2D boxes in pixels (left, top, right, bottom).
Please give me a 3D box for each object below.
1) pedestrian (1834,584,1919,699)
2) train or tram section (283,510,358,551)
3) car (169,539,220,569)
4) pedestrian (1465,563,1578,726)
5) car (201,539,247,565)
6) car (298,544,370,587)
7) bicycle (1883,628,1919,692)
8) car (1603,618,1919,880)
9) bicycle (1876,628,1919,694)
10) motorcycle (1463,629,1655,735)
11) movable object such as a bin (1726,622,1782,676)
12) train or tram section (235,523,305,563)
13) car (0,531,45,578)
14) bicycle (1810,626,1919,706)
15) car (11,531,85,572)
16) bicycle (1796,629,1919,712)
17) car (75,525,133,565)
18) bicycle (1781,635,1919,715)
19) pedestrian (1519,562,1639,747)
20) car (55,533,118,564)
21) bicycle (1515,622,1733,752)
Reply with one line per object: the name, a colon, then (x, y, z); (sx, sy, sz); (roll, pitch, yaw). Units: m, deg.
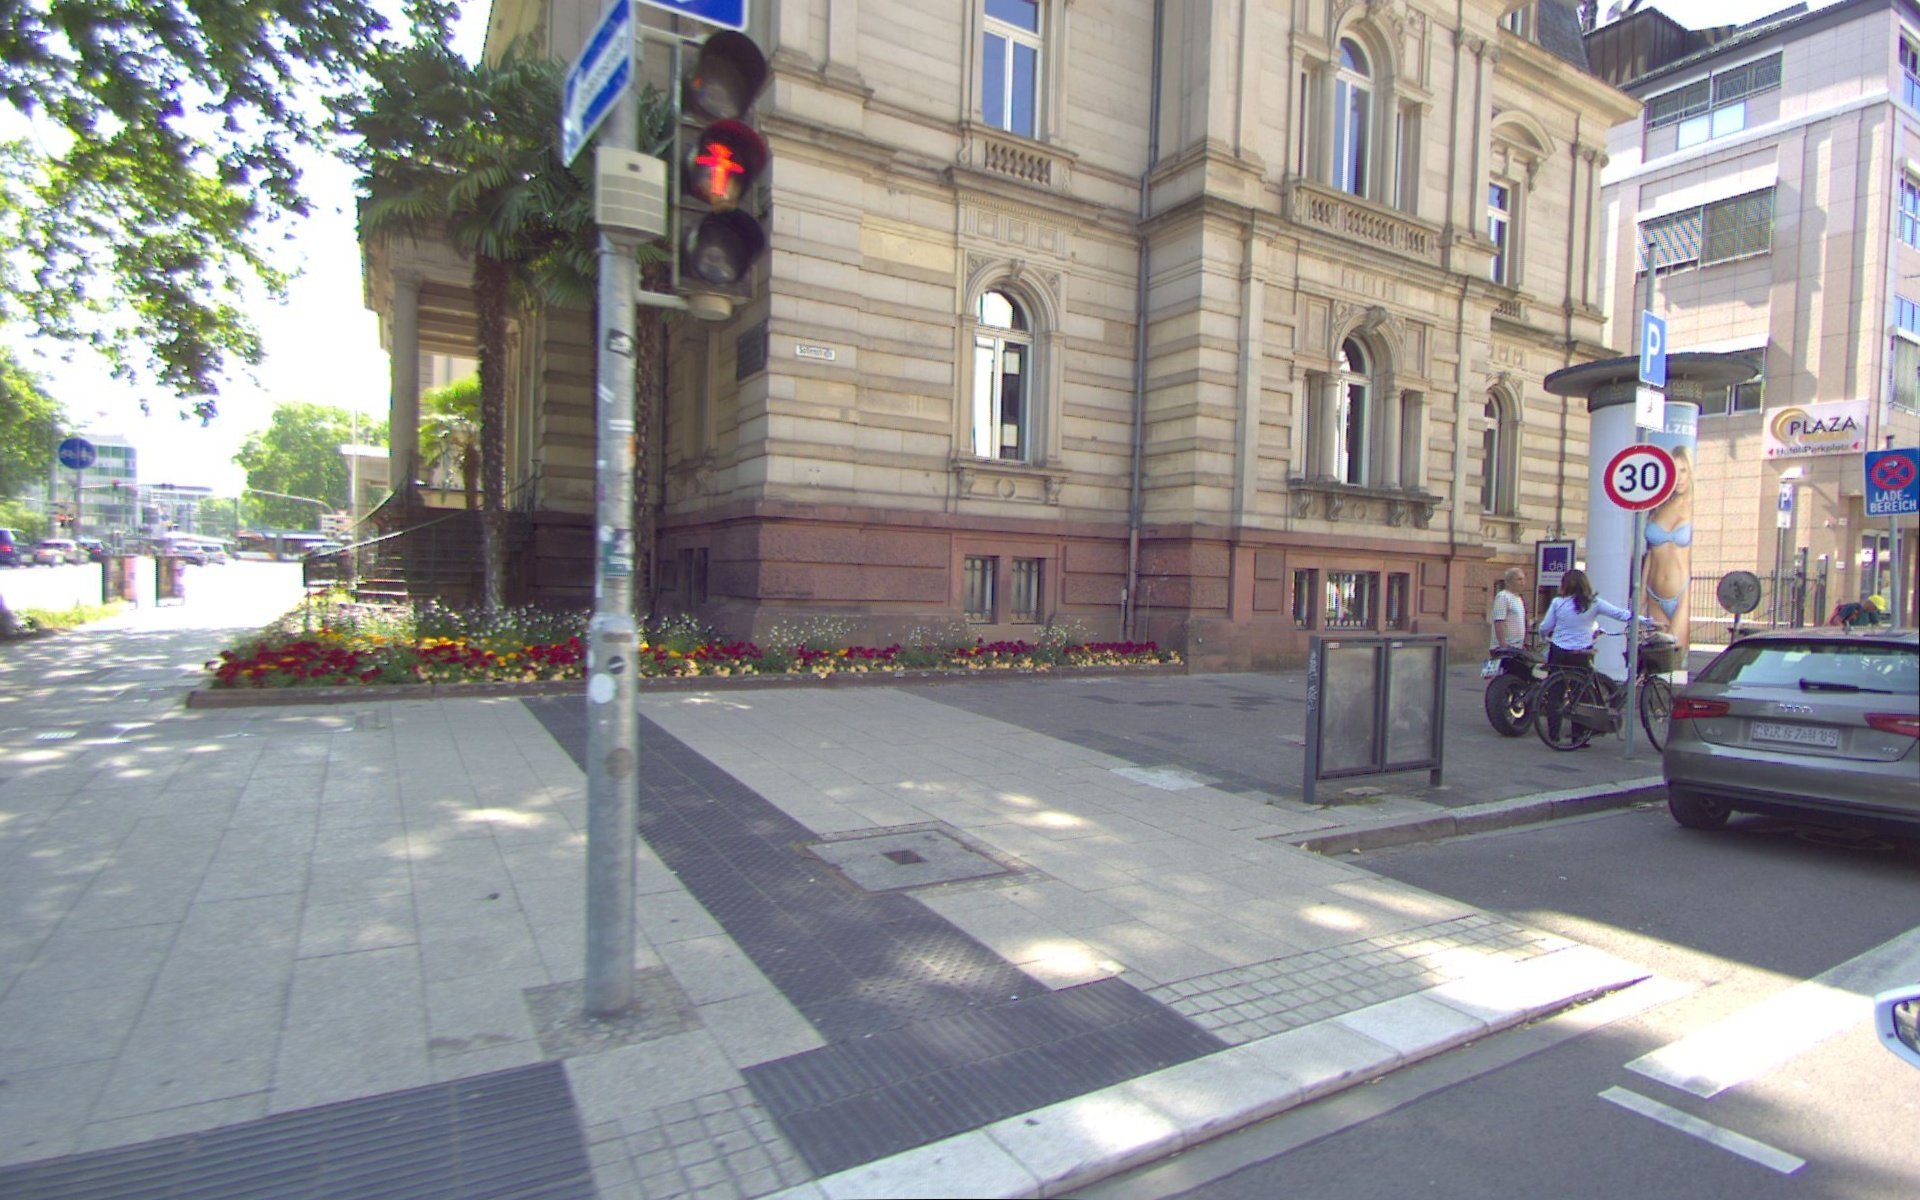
pedestrian: (14.665, 0.635, 16.030); (0.741, 1.748, 0.882); (1, 2, -37)
train or tram section: (-63.136, -6.861, 99.208); (6.156, 3.733, 2.153); (2, 1, 5)
car: (-47.553, -2.835, 62.471); (1.827, 1.758, 4.029); (0, 3, -27)
pedestrian: (6.034, 0.471, 10.798); (0.923, 1.687, 0.548); (2, 0, -22)
car: (-50.675, -3.290, 69.248); (1.911, 1.722, 4.029); (0, 2, -27)
car: (-23.240, -1.303, 37.418); (1.911, 1.515, 4.029); (0, 2, -27)
bicycle: (17.009, 1.053, 17.093); (0.551, 1.087, 1.832); (3, -1, -34)
car: (6.730, 0.857, 7.210); (4.201, 1.372, 1.926); (0, 1, -32)
bicycle: (17.607, 1.148, 17.749); (0.504, 1.135, 1.962); (2, 3, -33)
motorcycle: (6.226, 0.840, 10.411); (2.129, 1.011, 0.453); (2, 3, -22)
movable object such as a bin: (13.788, 0.850, 17.438); (0.507, 0.887, 0.649); (3, -1, -38)
train or tram section: (-69.042, -5.708, 100.487); (6.241, 3.733, 2.153); (2, 1, 15)
car: (-46.440, -2.222, 48.763); (1.911, 2.197, 4.029); (0, 3, -27)
bicycle: (15.159, 1.088, 16.108); (0.552, 1.135, 2.216); (1, 3, -41)
car: (-48.856, -2.591, 53.887); (1.911, 2.108, 4.029); (0, 2, -27)
bicycle: (14.548, 1.106, 15.869); (0.552, 1.135, 1.942); (1, 3, -41)
car: (-54.465, -3.474, 63.979); (1.911, 2.366, 4.029); (0, 2, -27)
bicycle: (13.968, 1.138, 15.445); (0.666, 1.031, 1.945); (1, 3, -41)
pedestrian: (5.992, 0.509, 9.737); (0.682, 1.717, 0.691); (2, 0, -28)
car: (-52.409, -3.086, 60.349); (1.911, 1.722, 4.029); (0, 2, -27)
bicycle: (6.319, 0.836, 9.529); (2.209, 1.135, 0.429); (3, 2, -20)
